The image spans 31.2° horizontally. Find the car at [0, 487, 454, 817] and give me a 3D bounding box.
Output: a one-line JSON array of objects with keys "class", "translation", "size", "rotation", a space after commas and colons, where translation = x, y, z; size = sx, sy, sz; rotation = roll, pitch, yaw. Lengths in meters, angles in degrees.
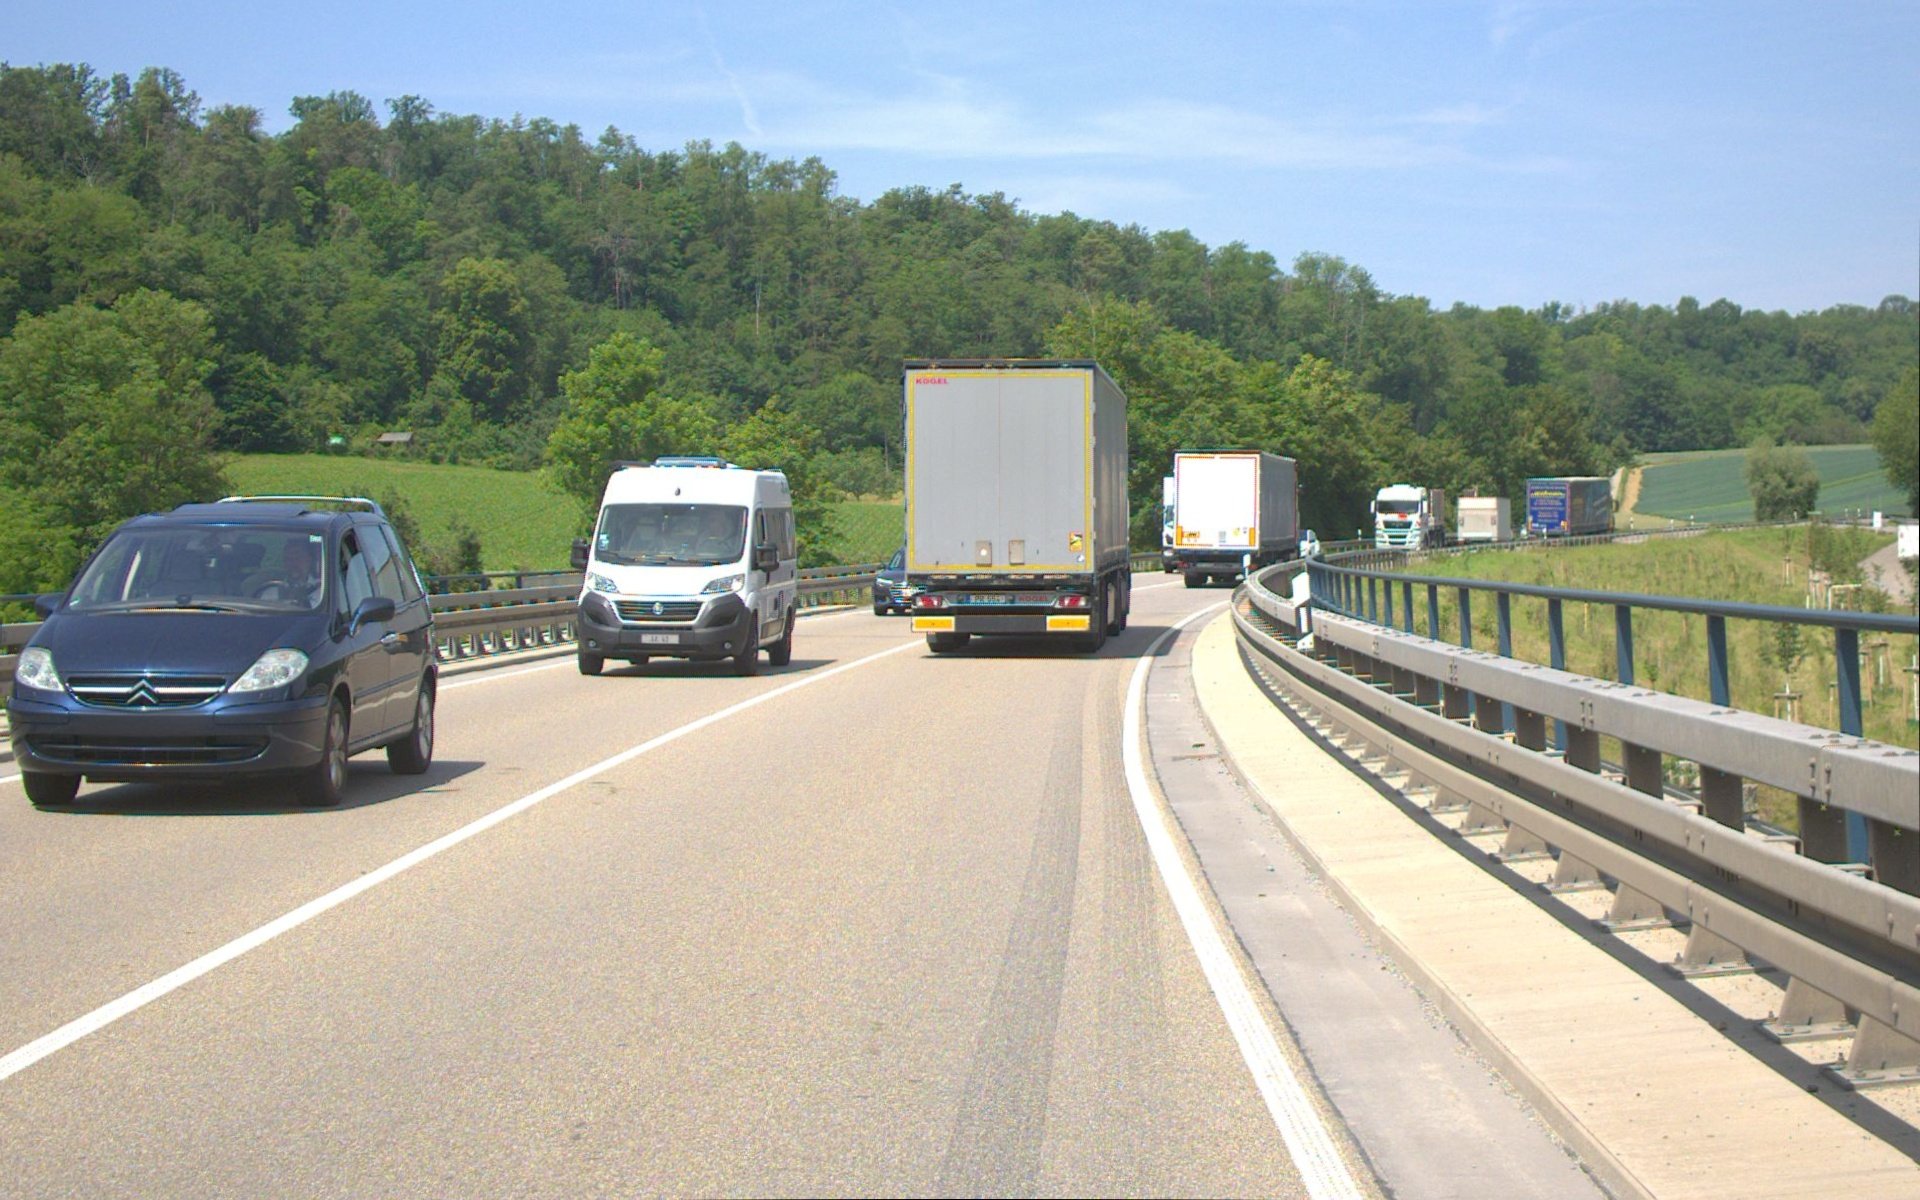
[{"class": "car", "translation": [-4.418, 0.247, 21.324], "size": [1.852, 1.792, 4.978], "rotation": [0, 1, 0]}]

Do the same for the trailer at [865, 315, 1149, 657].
[{"class": "trailer", "translation": [0.992, -1.634, 52.100], "size": [3.119, 4.484, 13.884], "rotation": [0, 1, 6]}]

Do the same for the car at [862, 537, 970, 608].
[{"class": "car", "translation": [-0.887, -0.598, 71.815], "size": [1.721, 1.430, 4.616], "rotation": [0, 1, 6]}]

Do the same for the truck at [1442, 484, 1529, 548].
[{"class": "truck", "translation": [28.719, -4.532, 187.431], "size": [3.225, 3.354, 11.866], "rotation": [0, 1, 16]}]

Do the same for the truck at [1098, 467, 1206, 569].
[{"class": "truck", "translation": [7.512, -3.194, 133.029], "size": [2.916, 3.790, 9.704], "rotation": [0, 2, 11]}]

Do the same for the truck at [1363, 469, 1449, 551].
[{"class": "truck", "translation": [24.060, -4.796, 184.994], "size": [3.063, 4.248, 9.860], "rotation": [0, 1, 17]}]

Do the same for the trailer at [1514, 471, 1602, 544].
[{"class": "trailer", "translation": [36.295, -5.526, 208.338], "size": [3.651, 4.248, 12.185], "rotation": [0, 1, 17]}]

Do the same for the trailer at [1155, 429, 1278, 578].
[{"class": "trailer", "translation": [8.072, -2.892, 106.538], "size": [3.366, 4.302, 13.861], "rotation": [0, 1, 6]}]

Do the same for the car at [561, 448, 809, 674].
[{"class": "car", "translation": [-3.257, -0.483, 41.984], "size": [2.179, 2.550, 5.796], "rotation": [0, 1, 4]}]

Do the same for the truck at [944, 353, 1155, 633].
[{"class": "truck", "translation": [1.619, -1.770, 58.520], "size": [3.119, 4.479, 6.810], "rotation": [0, 1, 5]}]
